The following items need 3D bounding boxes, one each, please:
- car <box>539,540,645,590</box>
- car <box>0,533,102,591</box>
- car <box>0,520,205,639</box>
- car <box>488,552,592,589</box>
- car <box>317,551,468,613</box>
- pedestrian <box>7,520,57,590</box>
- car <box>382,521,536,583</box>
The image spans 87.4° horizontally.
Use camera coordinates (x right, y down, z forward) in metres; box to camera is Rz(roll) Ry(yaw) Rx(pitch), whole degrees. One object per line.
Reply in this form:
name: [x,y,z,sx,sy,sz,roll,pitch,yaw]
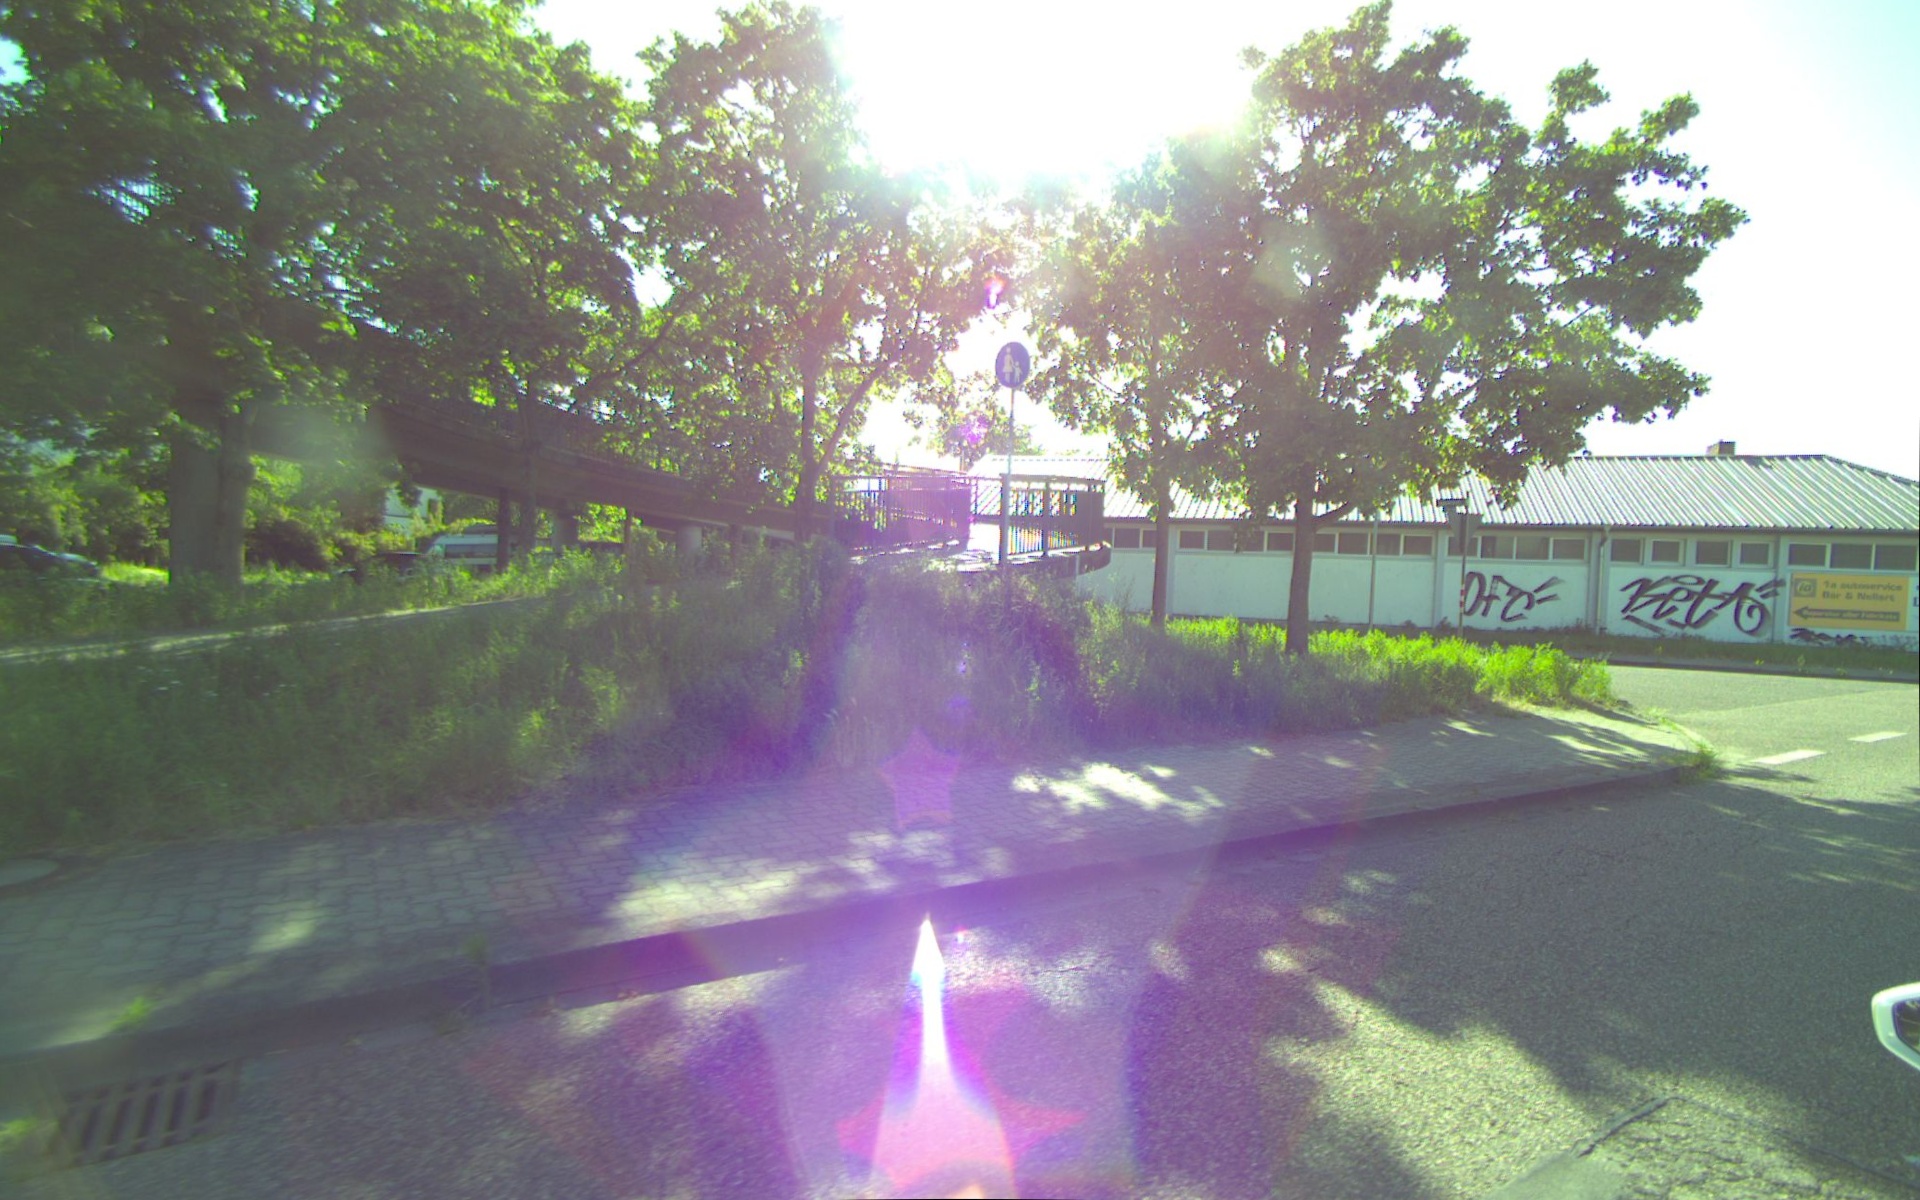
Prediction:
car: [-20.040,-1.896,54.745,5.098,2.507,2.001,2,1,14]
car: [-25.898,-1.053,27.109,4.165,1.461,1.741,2,1,5]
car: [-13.693,-0.339,14.488,4.216,1.573,1.683,2,1,-3]
car: [-21.211,-1.498,50.786,4.393,1.666,2.001,2,1,10]
car: [-15.884,-0.503,28.381,1.650,1.573,4.299,2,1,3]
pedestrian: [-23.140,-1.117,25.064,0.700,1.685,0.665,2,1,-22]
car: [-22.928,-2.177,46.044,6.275,2.540,2.001,2,1,10]
